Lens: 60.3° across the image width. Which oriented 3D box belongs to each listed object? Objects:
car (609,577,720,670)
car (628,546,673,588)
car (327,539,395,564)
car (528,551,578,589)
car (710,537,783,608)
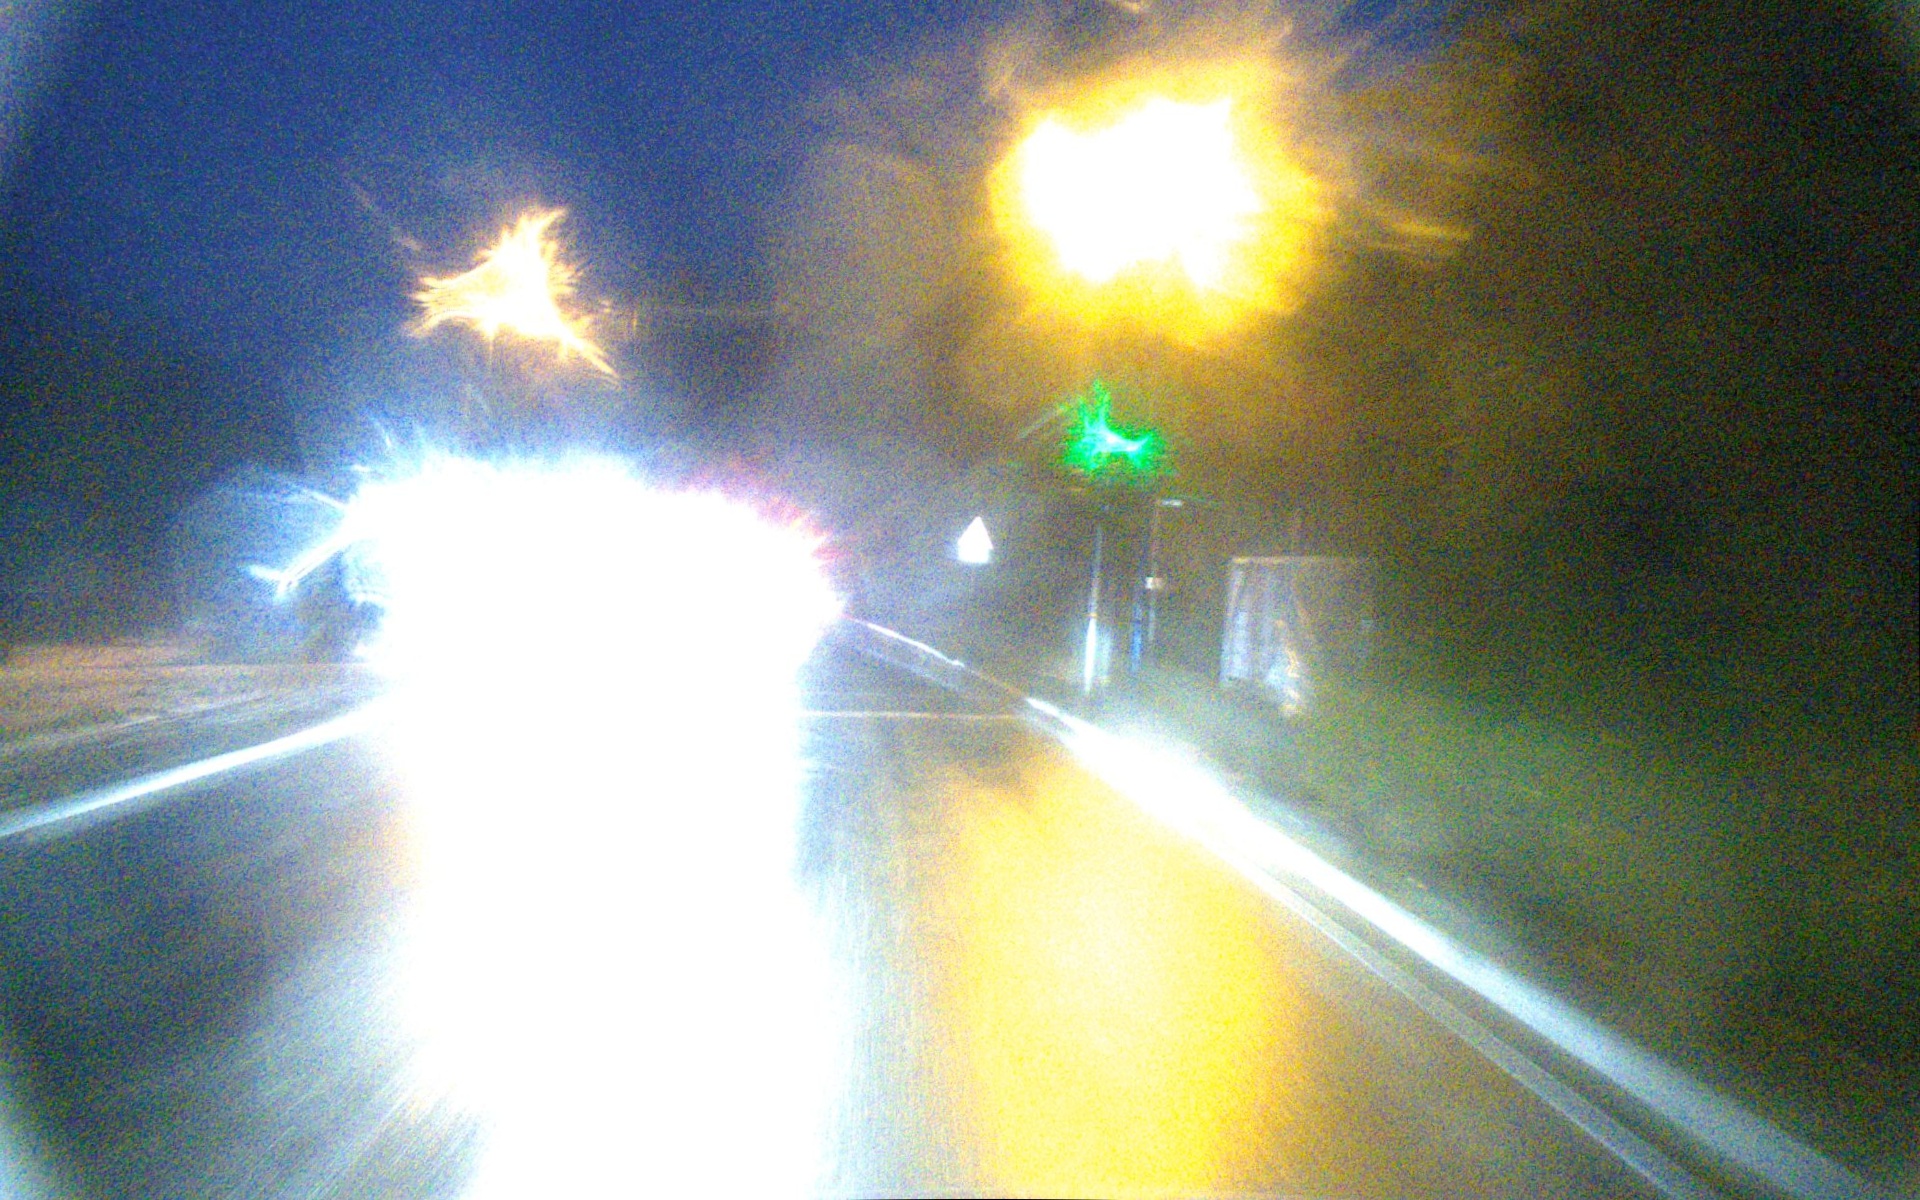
[{"bbox_3d":[-5.154,0.396,29.266,1.604,1.537,4.112,0,0,-6],"label":"car"},{"bbox_3d":[-16.844,-1.770,89.868,1.961,2.049,3.983,4,-2,-15],"label":"car"},{"bbox_3d":[-47.483,-3.830,131.028,4.854,1.764,1.983,1,2,-28],"label":"car"},{"bbox_3d":[-24.180,-1.773,98.068,1.967,2.049,4.809,4,-1,-24],"label":"car"},{"bbox_3d":[-8.269,-1.108,63.548,2.492,2.541,5.703,2,2,-10],"label":"car"}]
